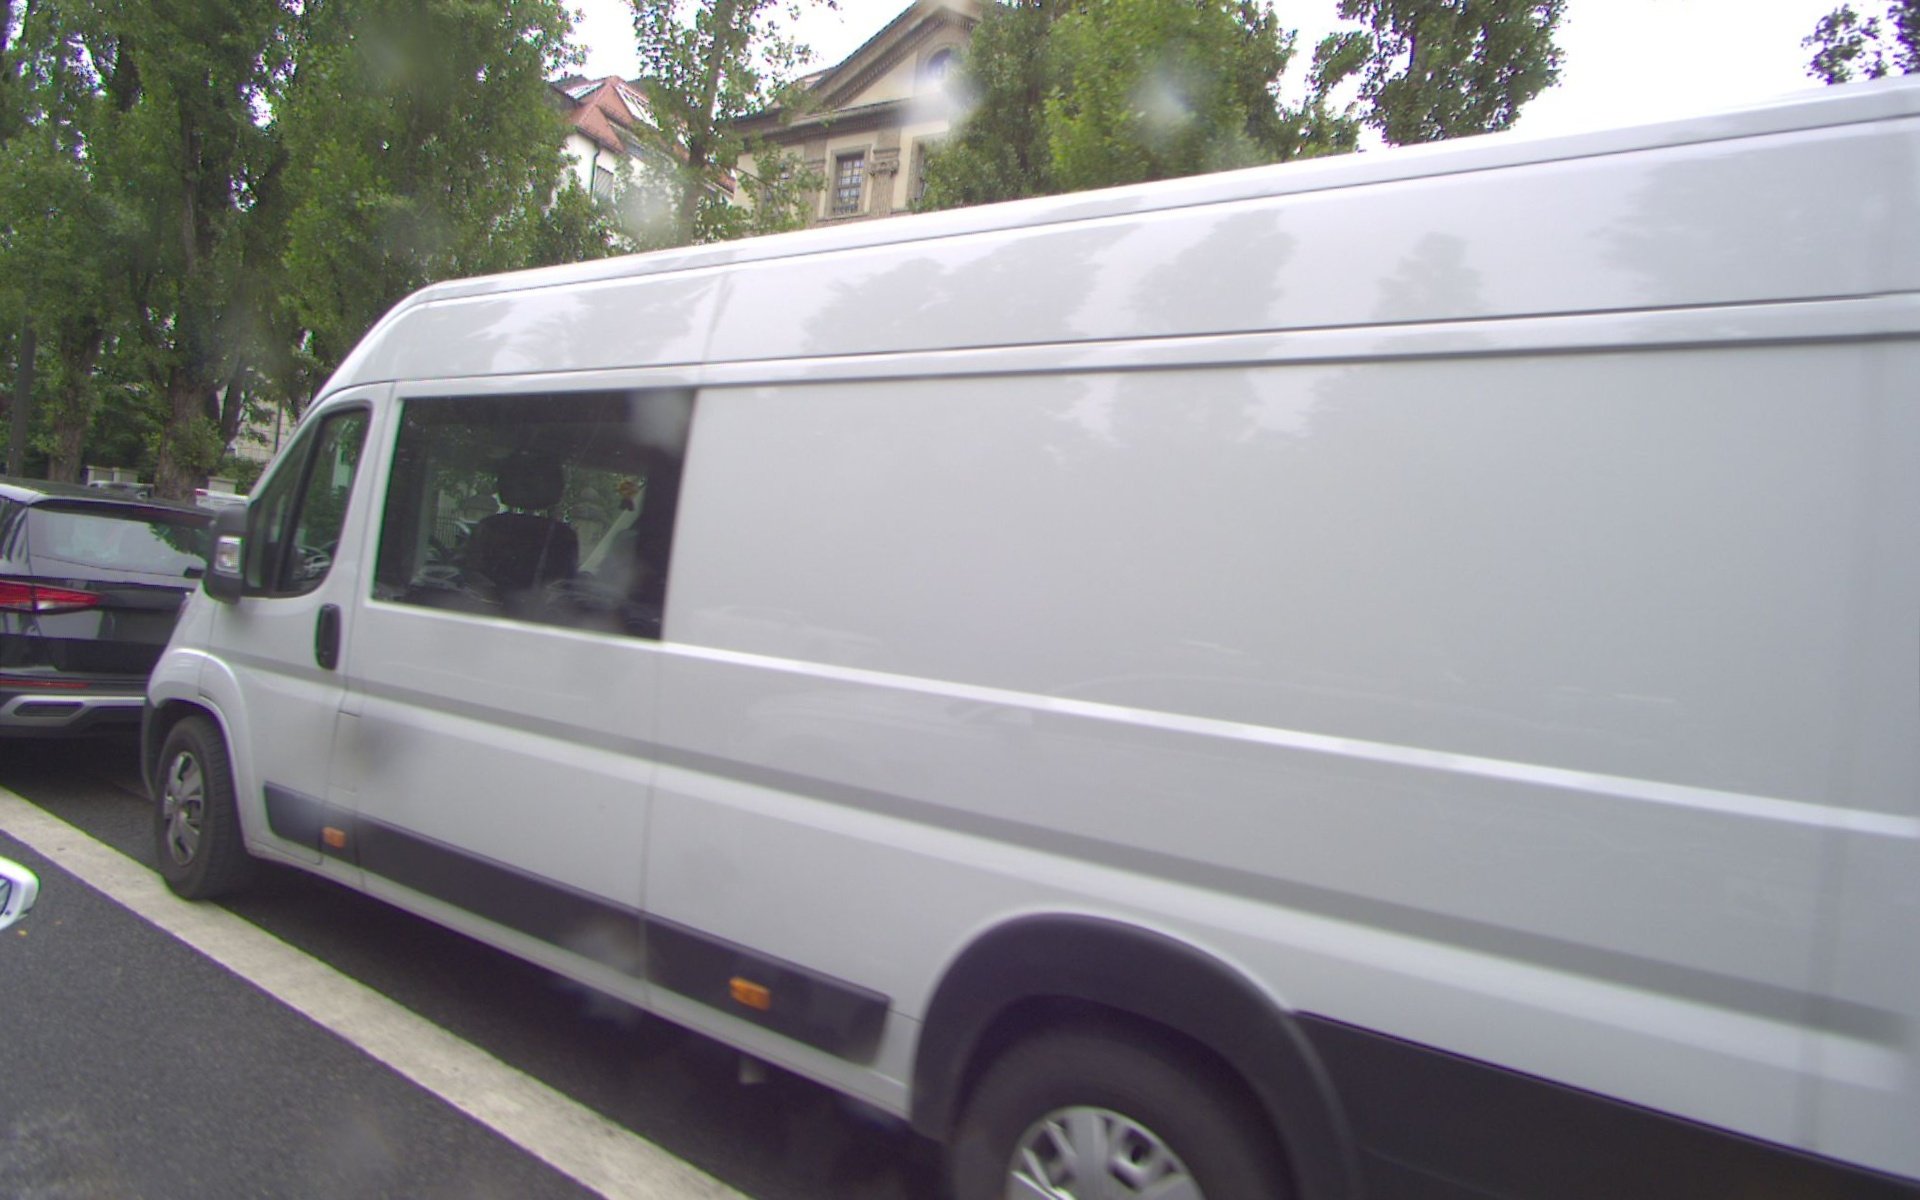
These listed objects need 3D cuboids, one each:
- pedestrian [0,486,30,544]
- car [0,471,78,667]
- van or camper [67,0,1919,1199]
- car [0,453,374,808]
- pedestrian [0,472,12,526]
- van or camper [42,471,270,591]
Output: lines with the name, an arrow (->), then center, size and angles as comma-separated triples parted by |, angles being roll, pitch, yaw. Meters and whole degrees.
pedestrian -> -32.163, -2.878, 33.791 | 0.814, 1.823, 0.904 | 9, 2, 10
car -> -10.195, -0.525, 9.225 | 4.560, 1.638, 1.786 | 7, 0, 31
van or camper -> -0.483, 0.214, 3.613 | 6.310, 2.571, 2.142 | 7, 0, 31
car -> -6.007, -0.022, 6.481 | 4.342, 1.669, 1.788 | 7, 0, 29
pedestrian -> -33.104, -3.491, 34.239 | 0.805, 1.804, 0.802 | 7, 1, 14
van or camper -> -17.485, -1.530, 21.801 | 5.279, 1.956, 2.080 | 7, -1, 32
